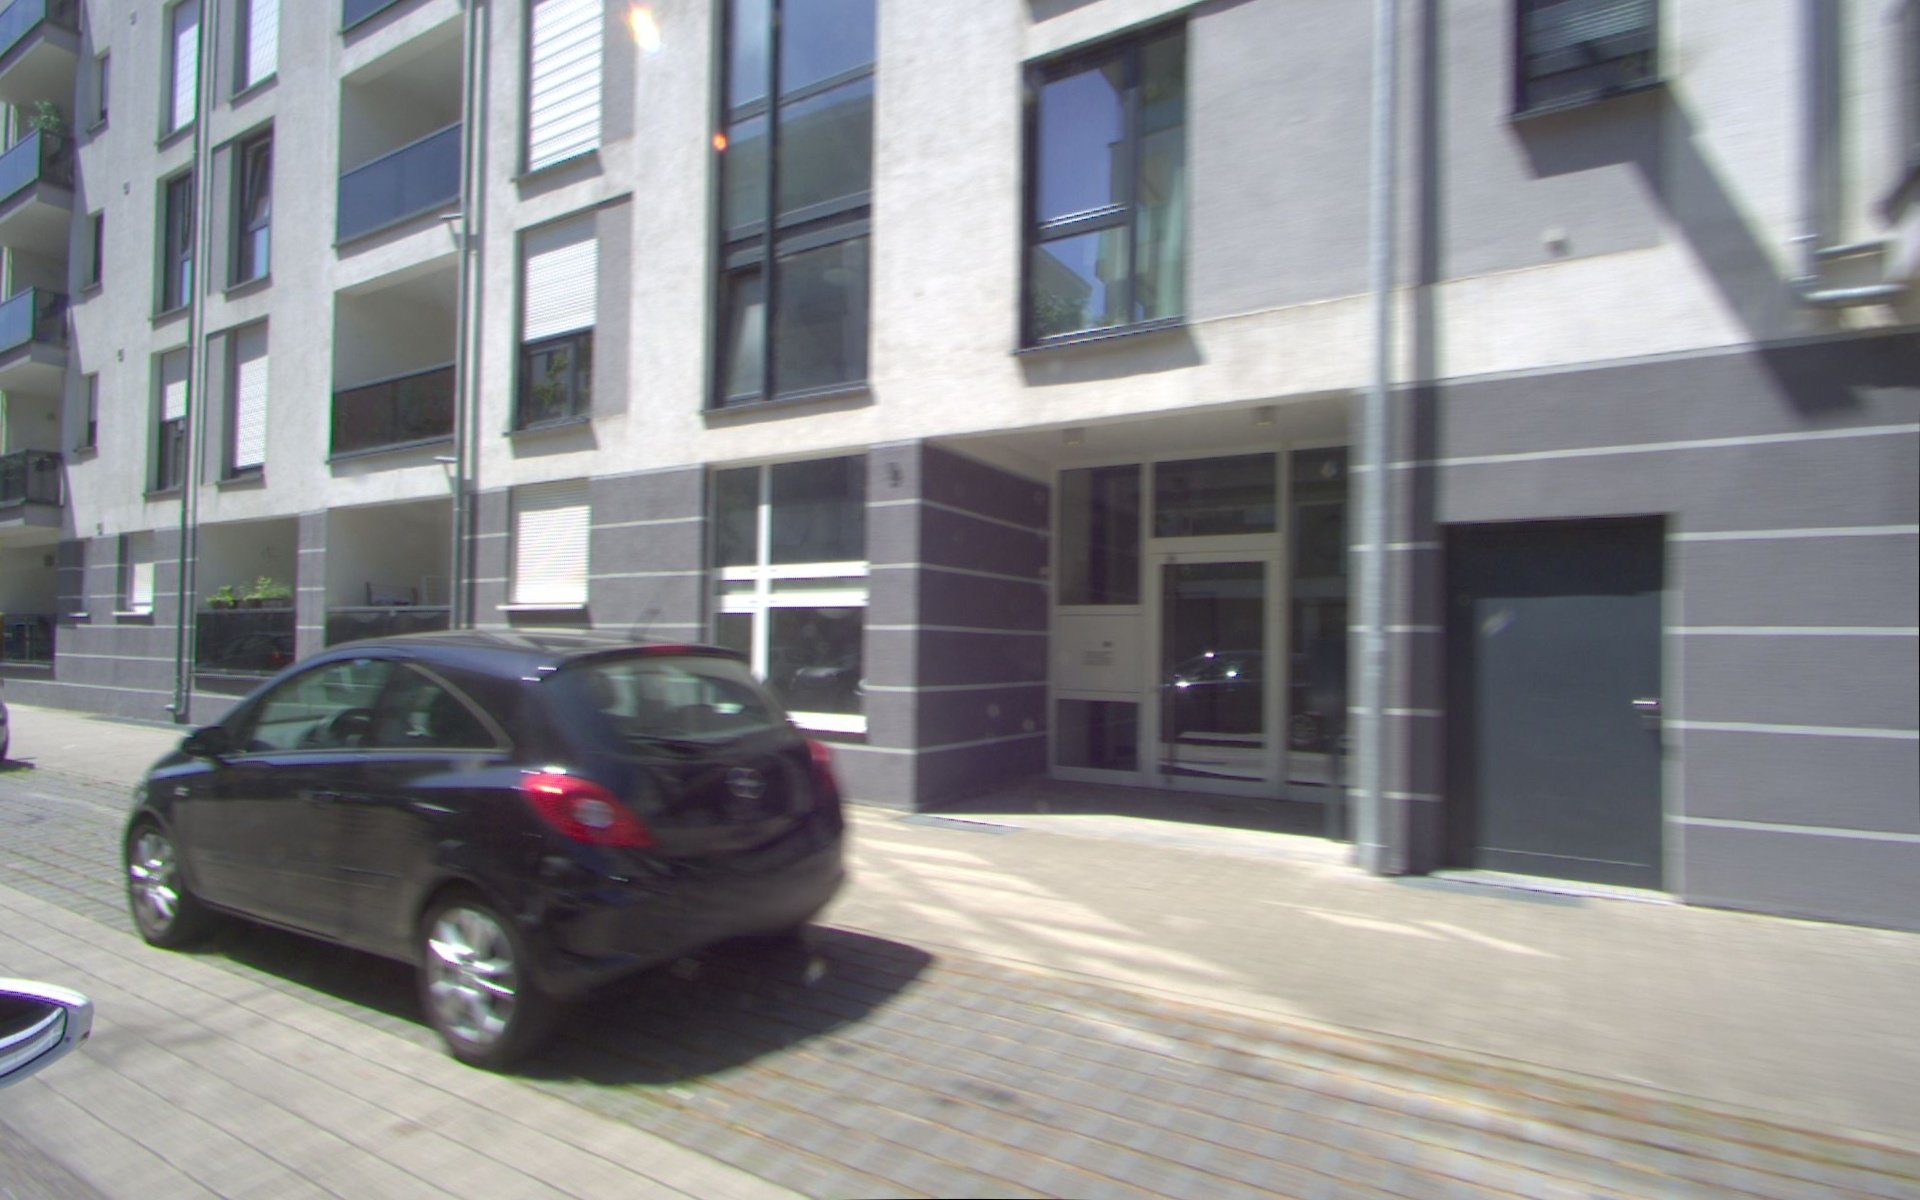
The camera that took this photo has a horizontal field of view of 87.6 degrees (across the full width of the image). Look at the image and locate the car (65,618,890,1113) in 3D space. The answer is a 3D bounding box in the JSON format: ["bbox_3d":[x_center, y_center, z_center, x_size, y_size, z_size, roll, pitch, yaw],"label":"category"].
[{"bbox_3d":[-2.459,0.836,4.800,4.057,1.481,1.640,0,-1,31],"label":"car"}]

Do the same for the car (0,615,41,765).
[{"bbox_3d":[-11.918,0.921,10.845,4.287,1.524,1.831,0,-1,32],"label":"car"}]
